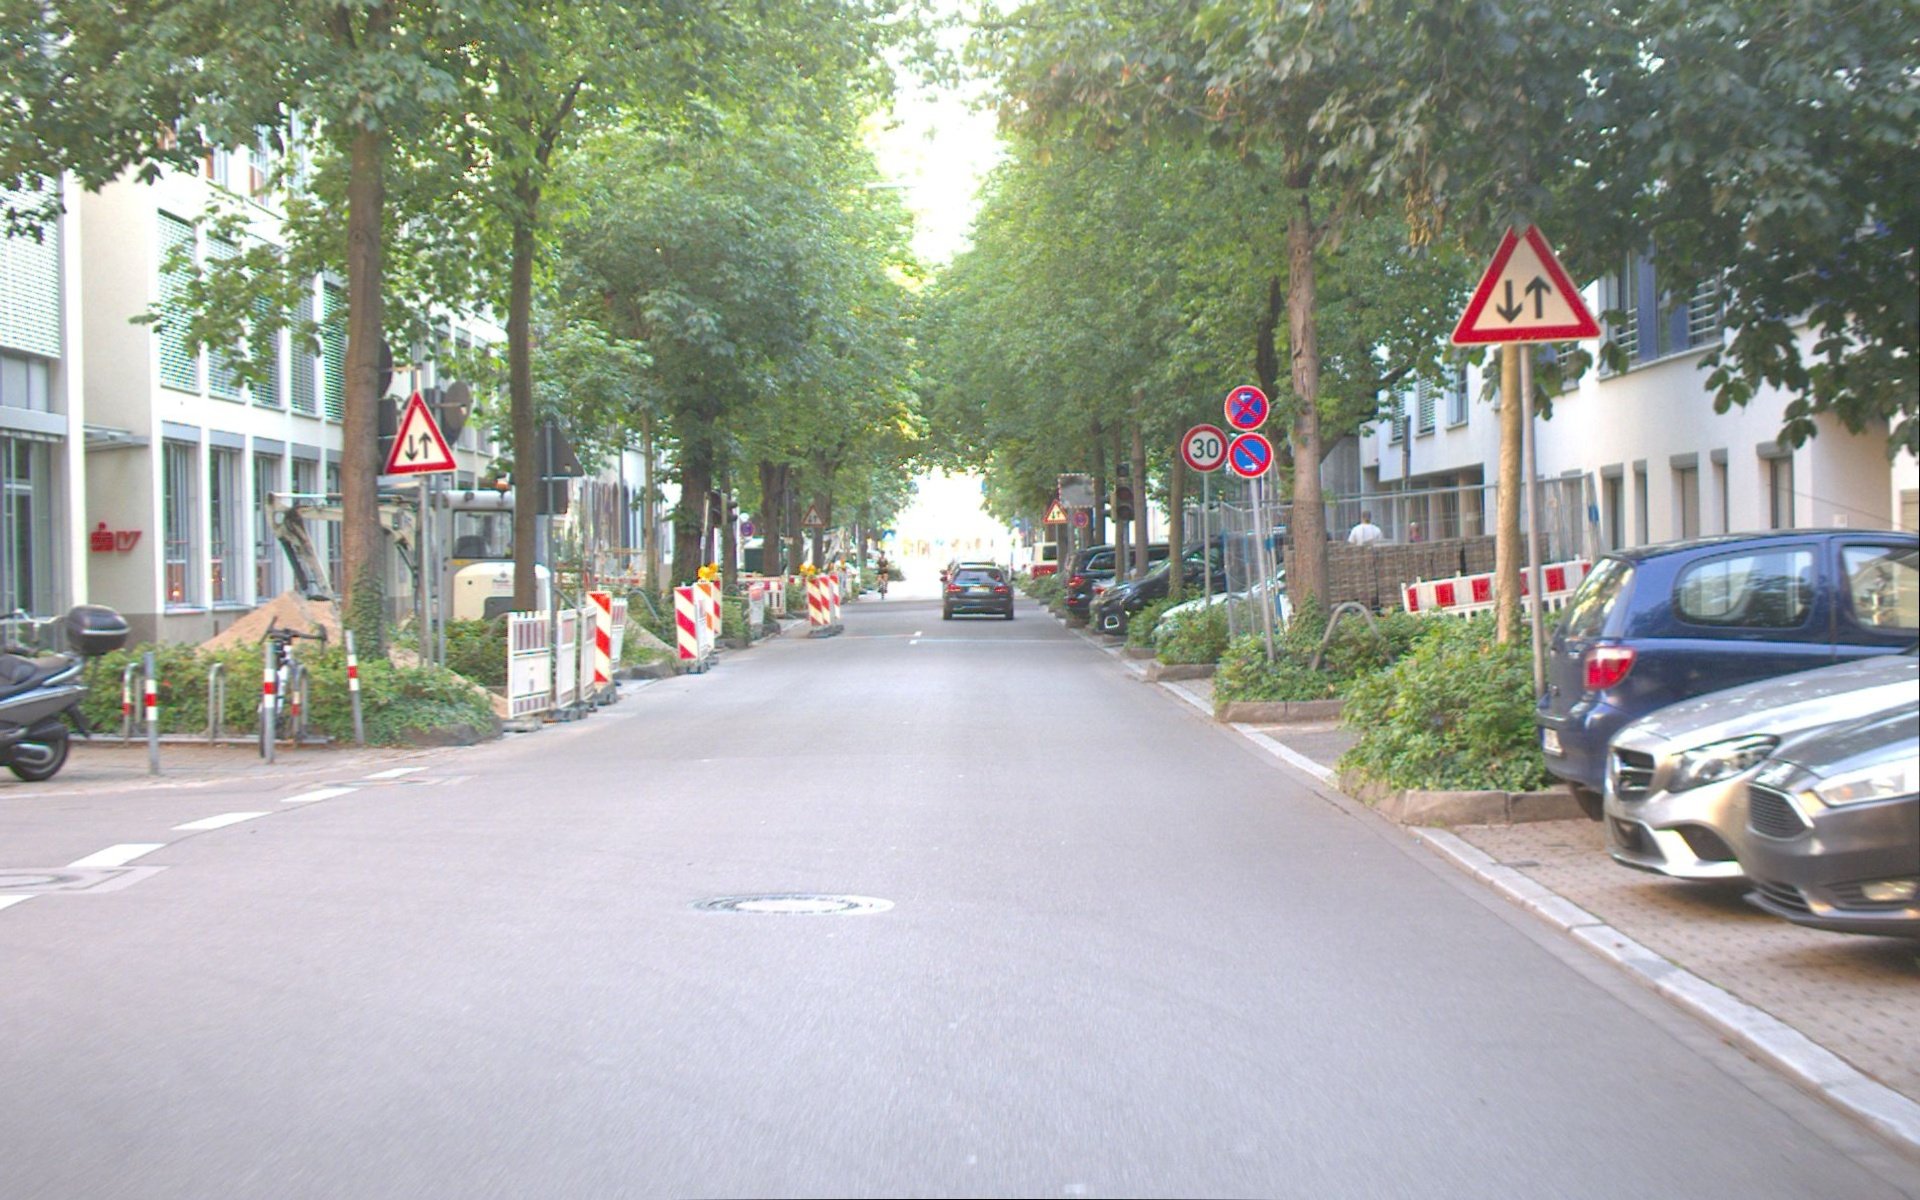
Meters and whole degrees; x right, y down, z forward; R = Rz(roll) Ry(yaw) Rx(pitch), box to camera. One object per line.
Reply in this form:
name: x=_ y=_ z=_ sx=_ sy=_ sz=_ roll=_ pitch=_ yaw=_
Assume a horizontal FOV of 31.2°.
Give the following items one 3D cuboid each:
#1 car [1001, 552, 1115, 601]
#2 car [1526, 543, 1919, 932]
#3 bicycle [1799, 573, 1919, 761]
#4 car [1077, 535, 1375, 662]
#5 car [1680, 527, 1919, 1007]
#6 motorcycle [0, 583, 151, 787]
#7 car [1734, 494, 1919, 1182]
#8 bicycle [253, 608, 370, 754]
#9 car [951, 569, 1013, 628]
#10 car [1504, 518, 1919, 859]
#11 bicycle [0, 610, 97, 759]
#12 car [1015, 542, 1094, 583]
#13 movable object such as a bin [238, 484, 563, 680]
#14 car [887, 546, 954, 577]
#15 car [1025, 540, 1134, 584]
car: x=4.350 y=-1.067 z=152.742 sx=4.972 sy=2.080 sz=1.738 roll=-1 pitch=1 yaw=0
car: x=4.765 y=0.502 z=14.604 sx=4.278 sy=1.503 sz=1.872 roll=-1 pitch=1 yaw=-8
bicycle: x=6.325 y=0.436 z=23.517 sx=0.726 sy=1.168 sz=1.500 roll=-5 pitch=1 yaw=1
car: x=4.538 y=-0.033 z=59.172 sx=4.972 sy=2.080 sz=1.738 roll=-1 pitch=1 yaw=0
car: x=4.795 y=0.506 z=12.161 sx=4.067 sy=1.558 sz=1.854 roll=-1 pitch=1 yaw=-2
motorcycle: x=-7.110 y=0.616 z=24.773 sx=2.372 sy=1.436 sz=0.801 roll=-1 pitch=1 yaw=-40
car: x=4.734 y=0.547 z=9.368 sx=4.795 sy=1.698 sz=1.836 roll=-1 pitch=1 yaw=-2
bicycle: x=-5.367 y=0.654 z=28.538 sx=0.601 sy=1.114 sz=1.800 roll=-1 pitch=1 yaw=0
car: x=0.548 y=-0.060 z=87.189 sx=1.500 sy=1.411 sz=3.713 roll=-1 pitch=1 yaw=0
car: x=4.545 y=0.368 z=17.118 sx=3.350 sy=1.520 sz=1.746 roll=-3 pitch=1 yaw=1
bicycle: x=-7.577 y=0.673 z=28.016 sx=0.601 sy=1.114 sz=1.800 roll=-1 pitch=1 yaw=0
car: x=4.807 y=-1.928 z=174.917 sx=3.987 sy=2.007 sz=2.000 roll=-1 pitch=1 yaw=2
movable object such as a bin: x=-6.947 y=-0.235 z=43.099 sx=3.665 sy=2.325 sz=2.583 roll=-1 pitch=1 yaw=-1
car: x=-2.504 y=-2.440 z=216.521 sx=3.986 sy=1.908 sz=1.778 roll=-1 pitch=1 yaw=-7
car: x=4.531 y=-1.454 z=130.868 sx=3.986 sy=1.592 sz=2.000 roll=-1 pitch=1 yaw=-3
